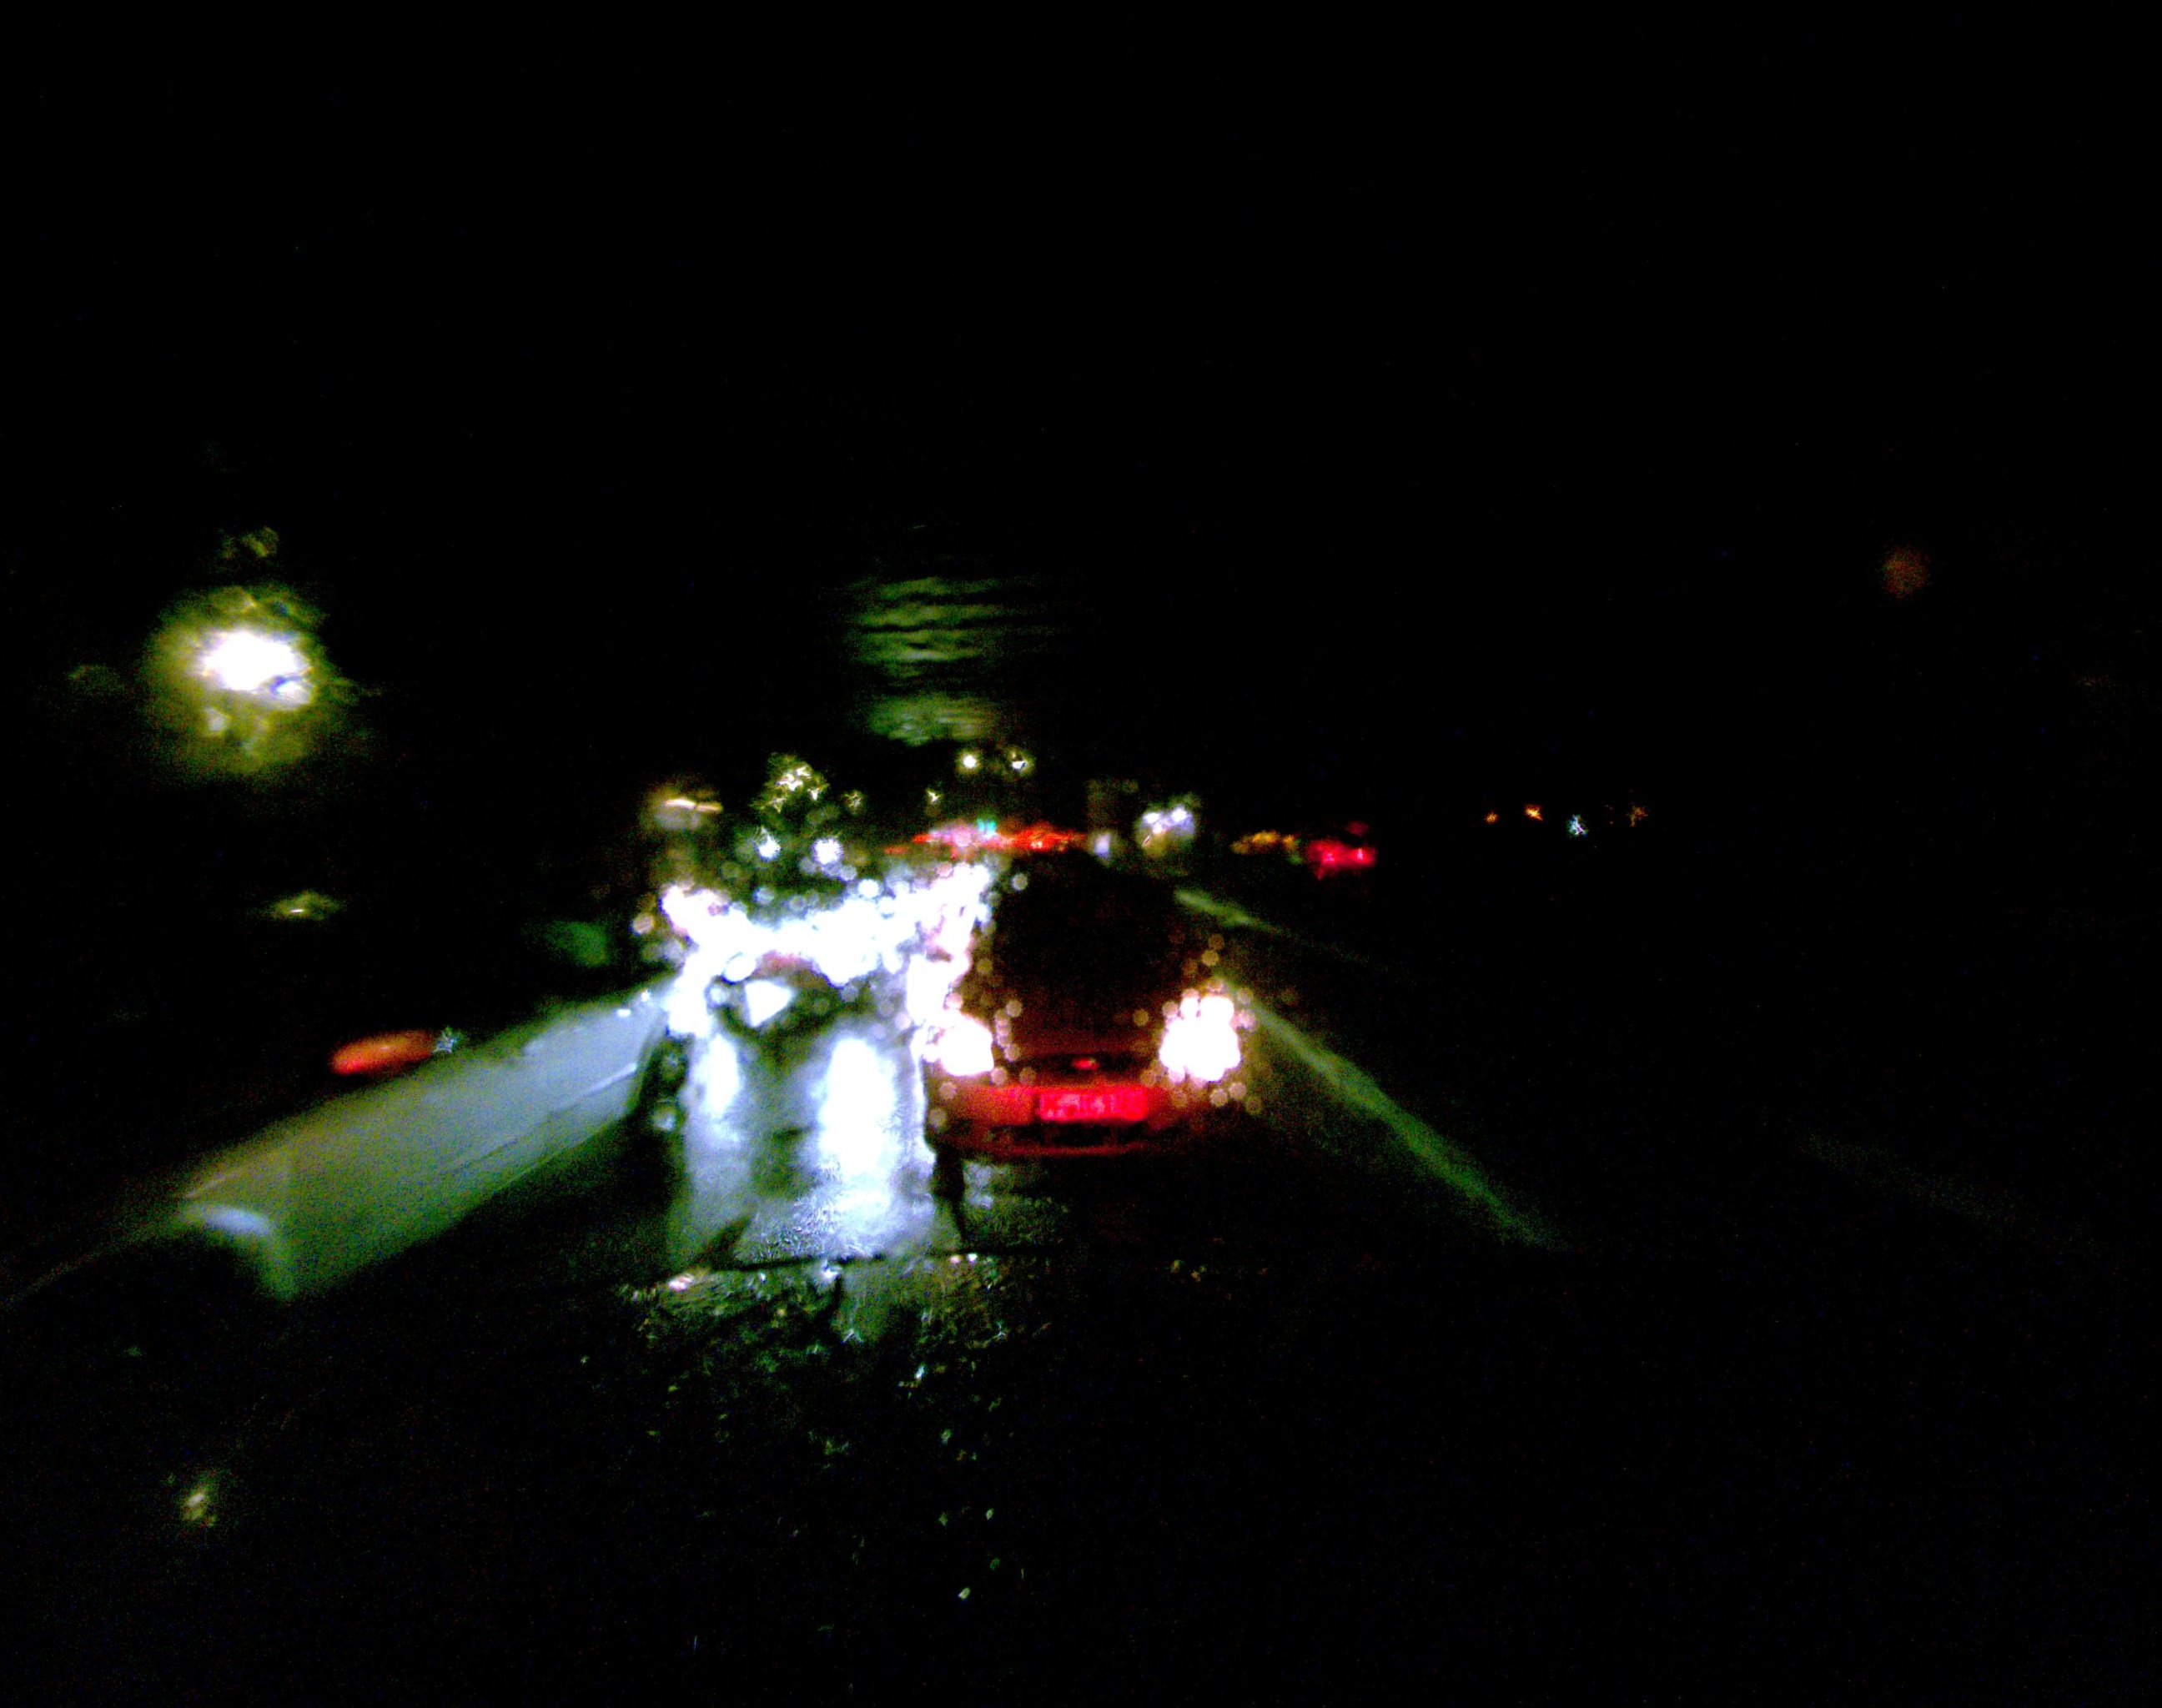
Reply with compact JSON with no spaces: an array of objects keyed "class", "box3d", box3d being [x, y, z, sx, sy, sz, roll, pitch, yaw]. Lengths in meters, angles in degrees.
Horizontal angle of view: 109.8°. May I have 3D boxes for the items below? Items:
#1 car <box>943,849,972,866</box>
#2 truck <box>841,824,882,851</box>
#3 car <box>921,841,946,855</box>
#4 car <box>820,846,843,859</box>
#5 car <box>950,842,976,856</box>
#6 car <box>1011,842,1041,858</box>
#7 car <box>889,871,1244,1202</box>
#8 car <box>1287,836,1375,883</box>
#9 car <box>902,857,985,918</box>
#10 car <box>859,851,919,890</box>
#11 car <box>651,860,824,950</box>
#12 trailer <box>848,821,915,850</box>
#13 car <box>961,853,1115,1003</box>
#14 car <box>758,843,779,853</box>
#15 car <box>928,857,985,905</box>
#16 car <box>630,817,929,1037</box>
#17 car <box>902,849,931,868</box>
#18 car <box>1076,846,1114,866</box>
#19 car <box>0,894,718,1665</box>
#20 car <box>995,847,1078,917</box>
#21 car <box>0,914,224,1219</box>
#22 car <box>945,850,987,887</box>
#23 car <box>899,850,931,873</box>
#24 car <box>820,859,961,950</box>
[{"class":"car","box3d":[-11.482,0.313,70.492,1.855,1.423,4.494,-3,2,-18]},{"class":"truck","box3d":[-36.541,-2.763,126.413,3.977,4.152,6.359,-3,1,-43]},{"class":"car","box3d":[-20.667,-0.828,106.543,1.974,1.731,4.907,-3,1,-29]},{"class":"car","box3d":[-36.531,-0.257,111.028,1.974,1.731,4.906,-3,1,-33]},{"class":"car","box3d":[-15.203,-0.659,97.696,1.913,1.731,4.388,-3,1,-30]},{"class":"car","box3d":[-6.386,-0.463,87.091,1.862,1.739,4.497,-3,1,-25]},{"class":"car","box3d":[-0.041,0.899,5.507,1.603,1.360,3.942,-2,1,1]},{"class":"car","box3d":[11.223,0.226,34.501,2.000,1.912,4.353,-2,1,-8]},{"class":"car","box3d":[-3.916,0.895,22.171,1.629,1.494,3.999,-2,1,0]},{"class":"car","box3d":[-8.341,0.662,33.384,1.854,1.423,4.498,-2,2,-6]},{"class":"car","box3d":[-7.123,0.963,16.342,1.853,1.423,4.499,-2,2,-3]},{"class":"trailer","box3d":[-32.132,-2.884,121.777,3.977,4.152,13.882,-3,1,-43]},{"class":"car","box3d":[-0.461,0.842,10.617,1.683,1.591,3.996,-2,1,1]},{"class":"car","box3d":[-56.528,-1.078,137.328,1.975,1.731,4.905,-3,1,-40]},{"class":"car","box3d":[-4.378,0.897,27.200,1.683,1.463,3.998,-2,1,-5]},{"class":"car","box3d":[-3.365,0.689,9.576,1.999,2.076,4.347,-2,1,-1]},{"class":"car","box3d":[-13.997,0.324,64.550,1.855,1.423,4.494,-3,2,-18]},{"class":"car","box3d":[1.124,0.186,63.482,1.914,1.578,4.075,1,-1,-20]},{"class":"car","box3d":[-3.180,1.018,2.679,1.792,1.359,3.999,-2,2,0]},{"class":"car","box3d":[-1.106,0.637,19.702,1.881,1.534,3.999,-2,1,-2]},{"class":"car","box3d":[-6.330,1.127,2.545,1.853,1.447,4.501,-1,0,-2]},{"class":"car","box3d":[-5.383,0.653,36.045,1.743,1.581,3.997,-2,1,-6]},{"class":"car","box3d":[-11.419,0.504,52.126,1.883,1.463,3.994,-2,1,-16]},{"class":"car","box3d":[-3.764,0.936,15.739,1.869,1.503,3.766,-2,1,1]}]
